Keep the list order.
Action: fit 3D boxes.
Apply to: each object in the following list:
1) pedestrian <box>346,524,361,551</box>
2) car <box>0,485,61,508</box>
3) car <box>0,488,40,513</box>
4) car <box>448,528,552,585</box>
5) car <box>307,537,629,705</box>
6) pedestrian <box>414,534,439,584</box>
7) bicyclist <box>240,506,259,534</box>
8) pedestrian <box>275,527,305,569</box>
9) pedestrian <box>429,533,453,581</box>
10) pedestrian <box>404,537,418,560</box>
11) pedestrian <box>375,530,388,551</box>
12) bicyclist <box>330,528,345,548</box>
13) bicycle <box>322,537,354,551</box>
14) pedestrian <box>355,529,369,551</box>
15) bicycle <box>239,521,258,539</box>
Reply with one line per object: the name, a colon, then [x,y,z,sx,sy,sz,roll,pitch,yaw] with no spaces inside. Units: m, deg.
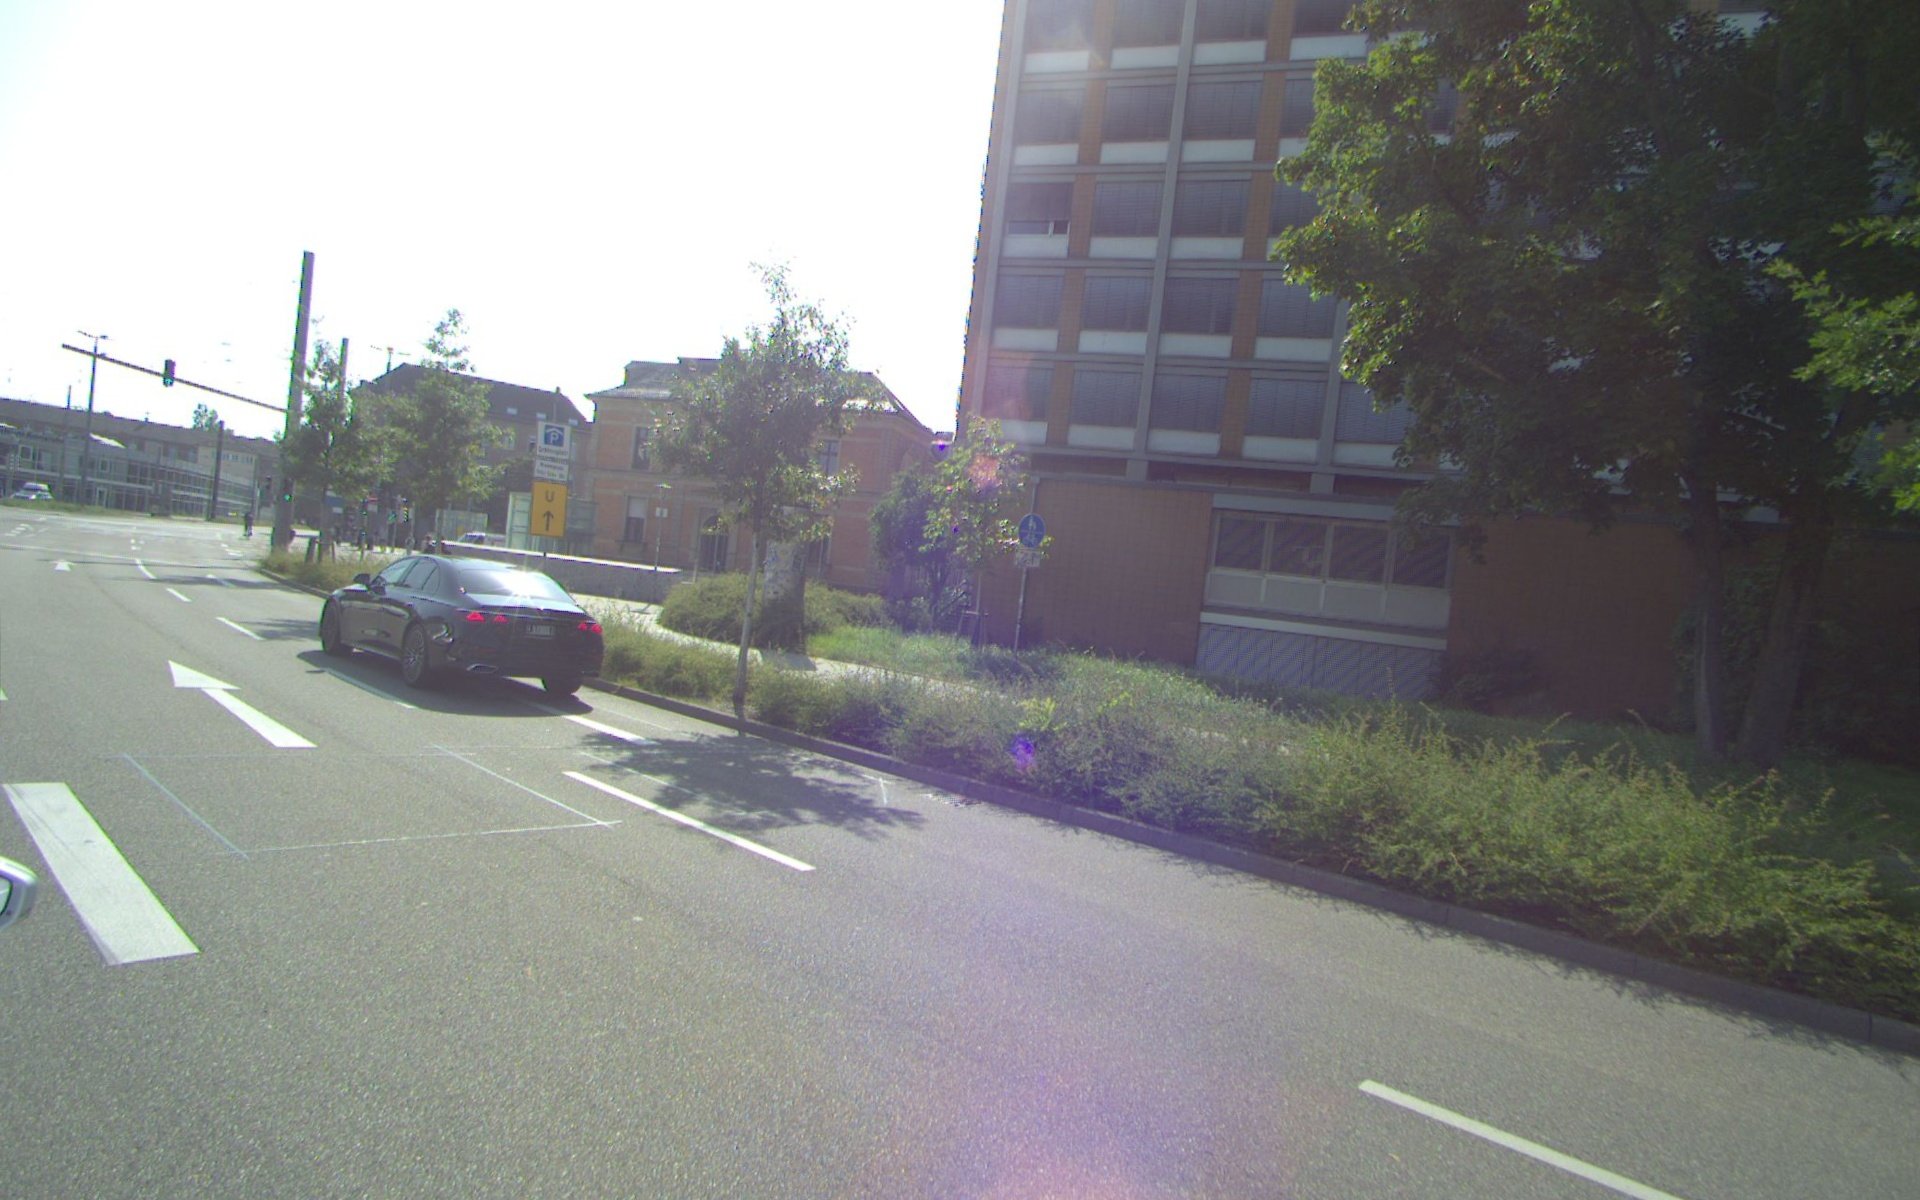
pedestrian: [-45.452,-4.659,75.383,0.798,1.912,0.742,6,1,-32]
car: [-81.482,-9.056,87.901,1.968,1.460,3.989,7,0,34]
car: [-64.118,-6.782,66.924,1.902,1.359,3.962,7,0,39]
car: [-21.114,-1.975,46.362,1.722,2.039,3.996,10,1,25]
car: [-6.205,0.183,12.374,4.807,1.457,1.817,6,-1,42]
pedestrian: [-18.656,-1.426,35.190,0.609,1.659,0.530,6,1,-26]
bicyclist: [-43.022,-4.821,60.875,0.768,1.598,0.980,6,0,-38]
pedestrian: [-23.795,-1.845,35.733,0.625,1.379,0.635,7,1,41]
pedestrian: [-18.544,-1.545,35.951,0.608,1.649,0.530,6,1,-25]
pedestrian: [-35.826,-3.349,65.608,0.652,1.378,0.654,7,2,-29]
pedestrian: [-40.839,-4.184,70.986,0.652,1.378,0.654,7,2,-29]
bicyclist: [-49.629,-4.943,80.205,0.797,1.479,0.743,6,1,-28]
bicycle: [-49.617,-4.454,80.249,2.034,0.905,0.741,7,0,-28]
pedestrian: [-40.742,-4.115,68.563,0.652,1.378,0.654,7,2,-29]
bicycle: [-43.076,-4.252,60.878,0.768,0.988,2.127,7,0,-38]
